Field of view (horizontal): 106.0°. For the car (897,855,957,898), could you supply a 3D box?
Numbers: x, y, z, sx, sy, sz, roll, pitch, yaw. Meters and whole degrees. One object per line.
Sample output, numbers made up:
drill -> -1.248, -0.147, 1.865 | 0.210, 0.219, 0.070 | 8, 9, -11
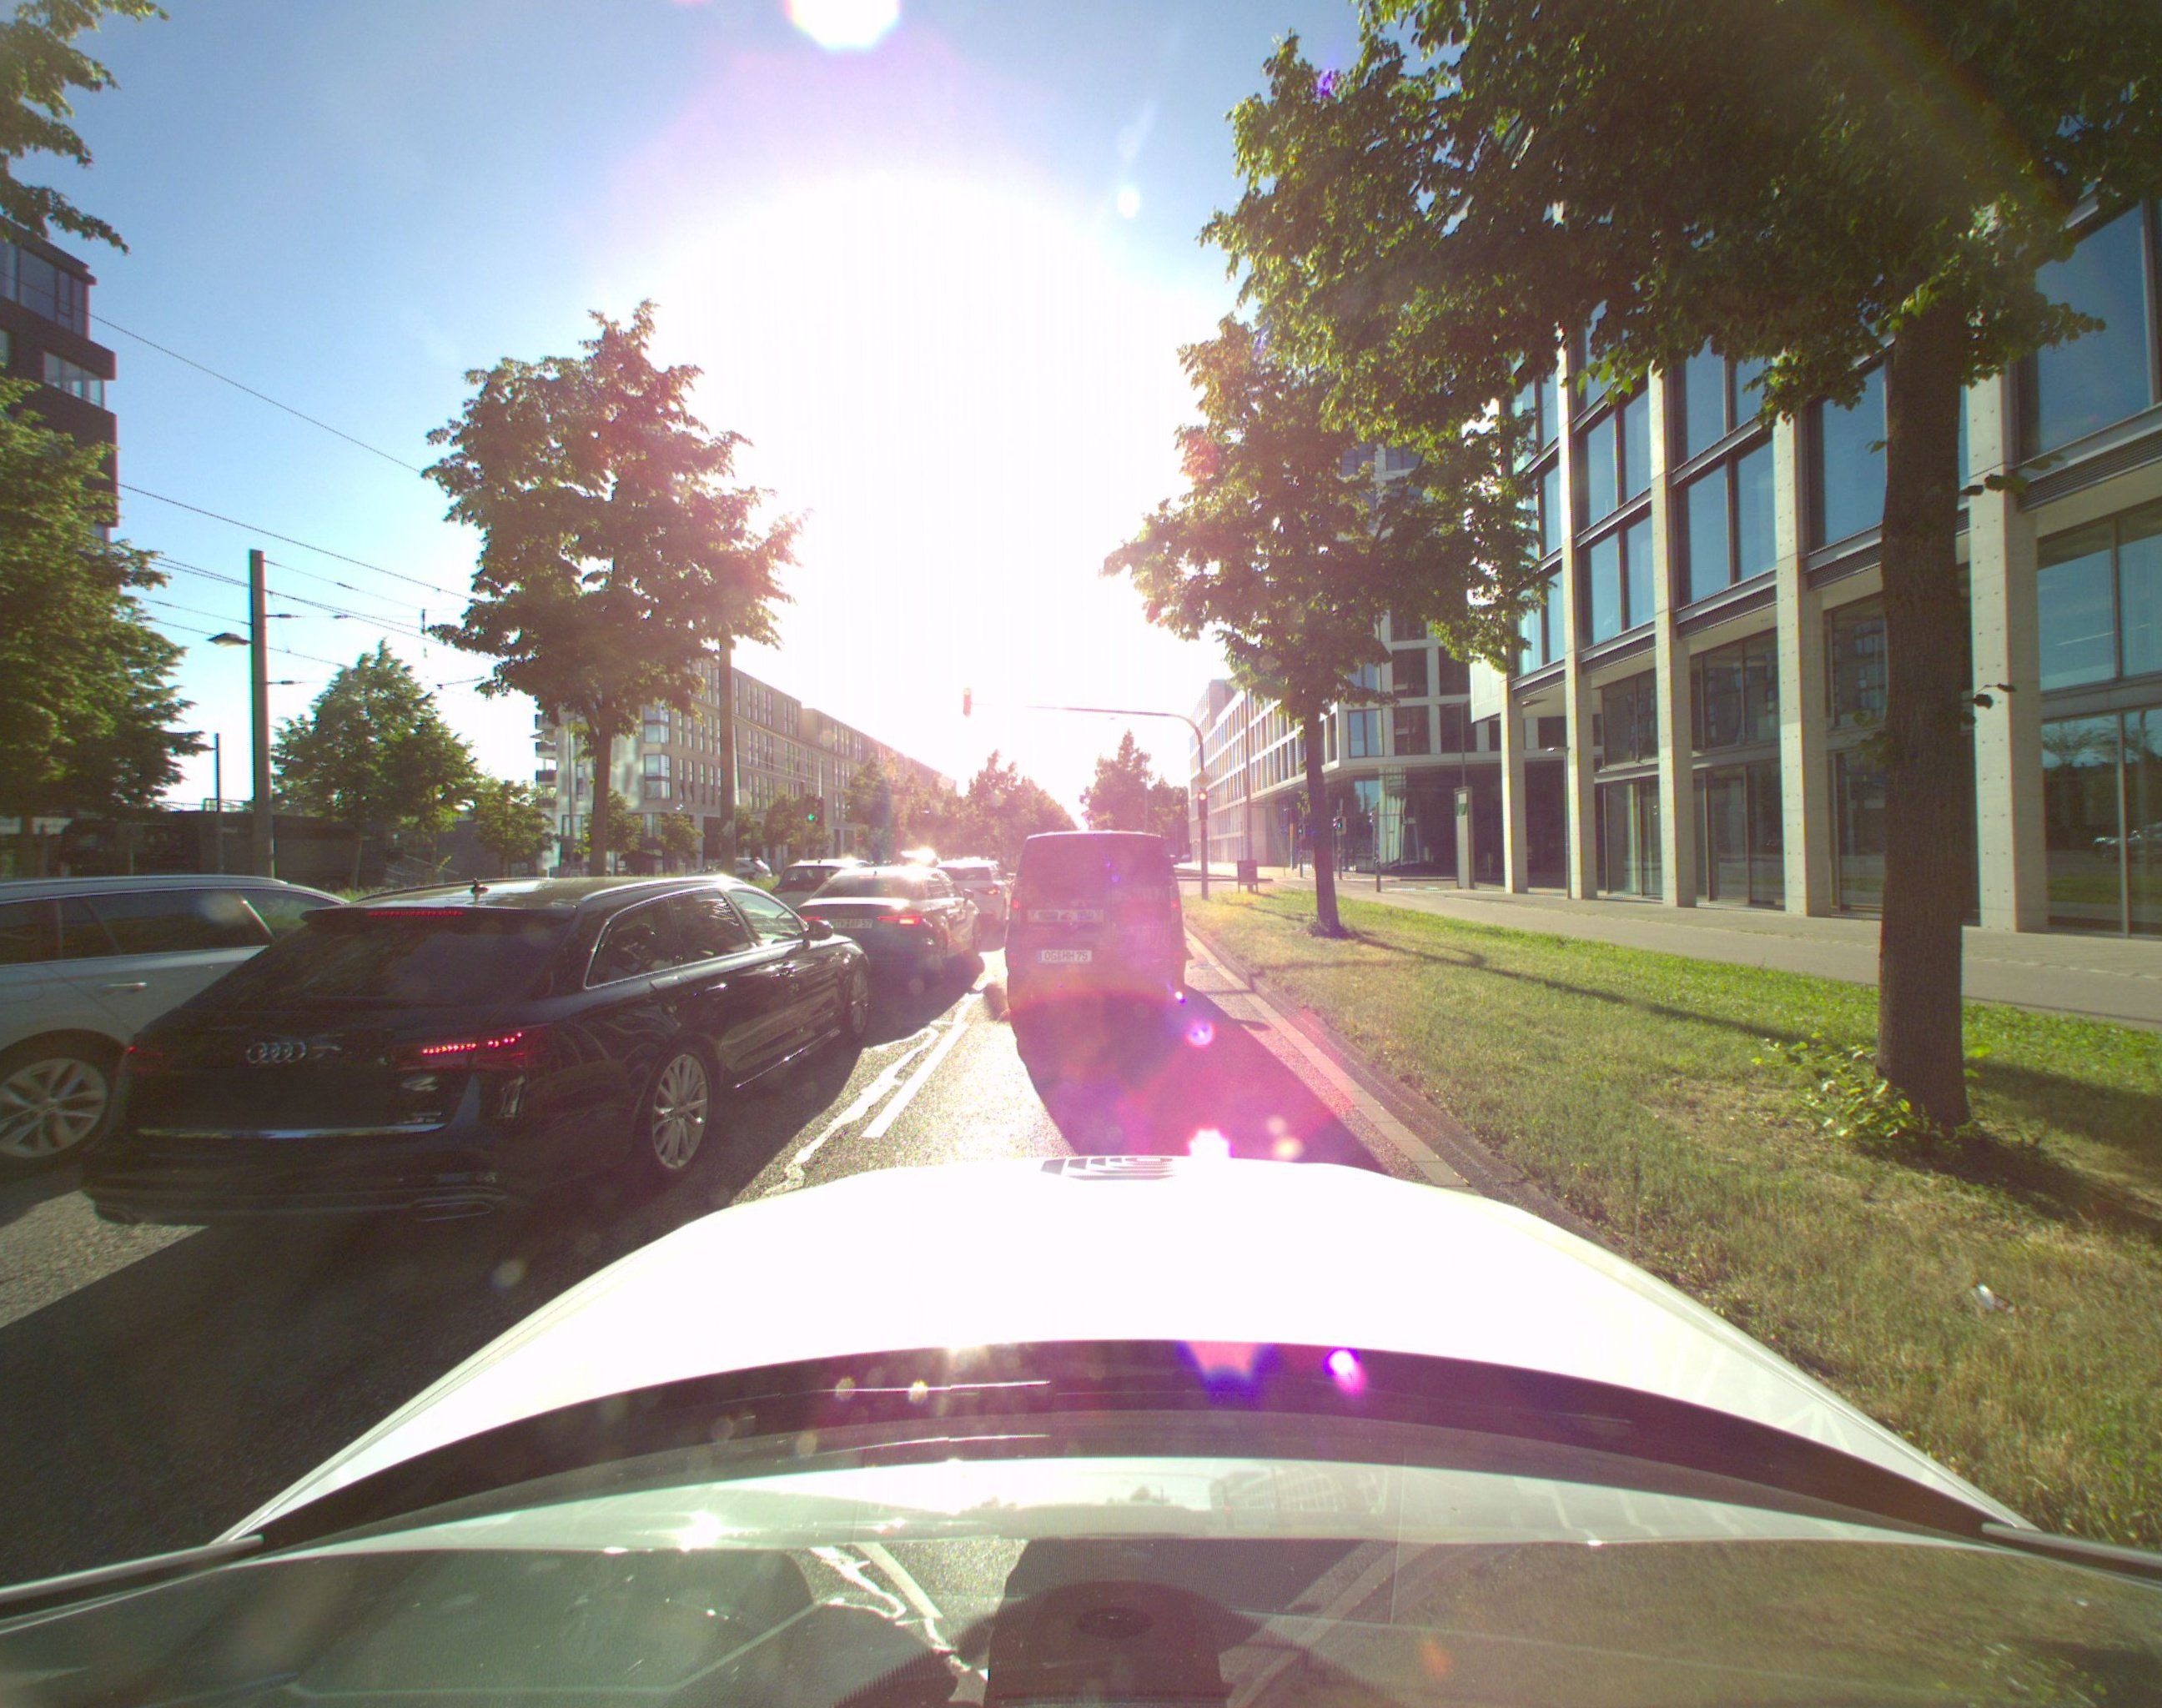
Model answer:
car -> -5.741, 0.773, 30.760 | 1.796, 1.447, 4.560 | 0, 0, -6

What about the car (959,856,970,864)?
car -> -28.611, 1.413, 200.183 | 1.986, 2.013, 4.002 | -1, 0, 2

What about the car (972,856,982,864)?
car -> -27.901, 1.519, 218.196 | 1.986, 2.013, 4.002 | -1, 0, 2

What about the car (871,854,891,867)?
car -> -30.754, 0.983, 125.140 | 1.986, 2.013, 4.002 | -1, 0, 2

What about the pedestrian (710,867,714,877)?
pedestrian -> -41.125, 1.967, 90.713 | 0.253, 1.085, 0.260 | -1, 0, 1

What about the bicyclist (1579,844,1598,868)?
bicyclist -> 27.151, 0.117, 43.560 | 0.675, 1.275, 0.824 | -1, 0, 17

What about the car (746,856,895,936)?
car -> -5.417, 0.794, 17.615 | 1.794, 1.447, 4.566 | -1, 0, -1

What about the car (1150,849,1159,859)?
car -> 17.890, 0.011, 198.181 | 1.986, 2.497, 4.988 | -1, 0, 2

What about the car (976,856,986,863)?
car -> -27.444, 1.557, 223.813 | 1.986, 2.013, 4.002 | -1, 0, 2

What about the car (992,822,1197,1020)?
car -> 0.183, 0.610, 9.433 | 1.835, 1.780, 4.002 | -1, 0, 2

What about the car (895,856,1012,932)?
car -> -2.645, 0.786, 17.760 | 1.797, 1.426, 3.902 | -1, 0, 2

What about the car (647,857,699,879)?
car -> -31.042, 1.040, 62.073 | 1.758, 1.520, 4.002 | -1, 0, 2

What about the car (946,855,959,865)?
car -> -28.901, 1.320, 183.364 | 1.986, 2.013, 4.002 | -1, 0, 2

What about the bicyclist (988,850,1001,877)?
bicyclist -> -6.836, 0.731, 64.189 | 0.938, 2.092, 0.817 | -1, 0, -3

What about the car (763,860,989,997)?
car -> -2.488, 0.831, 11.089 | 1.835, 1.426, 4.340 | -1, 0, 2

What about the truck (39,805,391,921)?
truck -> -33.626, 0.294, 32.645 | 2.880, 3.853, 10.217 | -1, 0, 2

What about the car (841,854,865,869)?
car -> -30.879, 0.986, 110.594 | 1.986, 2.013, 4.002 | -1, 0, 2

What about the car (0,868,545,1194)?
car -> -5.904, 0.877, 5.212 | 1.792, 1.447, 4.570 | -1, 0, 2

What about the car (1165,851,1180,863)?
car -> 14.325, 0.420, 127.812 | 1.986, 1.782, 4.002 | -1, 0, 2

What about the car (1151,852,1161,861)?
car -> 16.507, 0.531, 179.680 | 1.986, 1.782, 4.002 | -1, 0, 2

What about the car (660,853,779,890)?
car -> -16.444, 0.770, 37.178 | 4.535, 1.483, 1.806 | 2, 0, 2

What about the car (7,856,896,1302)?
car -> -2.750, 0.787, 5.313 | 1.868, 1.484, 4.967 | -1, 0, 1

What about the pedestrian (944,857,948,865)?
pedestrian -> -33.899, 1.752, 204.229 | 0.803, 2.013, 0.871 | -1, 0, 1

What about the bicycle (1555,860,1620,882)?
bicycle -> 27.096, 0.924, 43.583 | 2.815, 1.114, 0.824 | -1, 0, 15

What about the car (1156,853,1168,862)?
car -> 15.965, 0.619, 160.478 | 1.986, 1.782, 4.002 | -1, 0, 2
